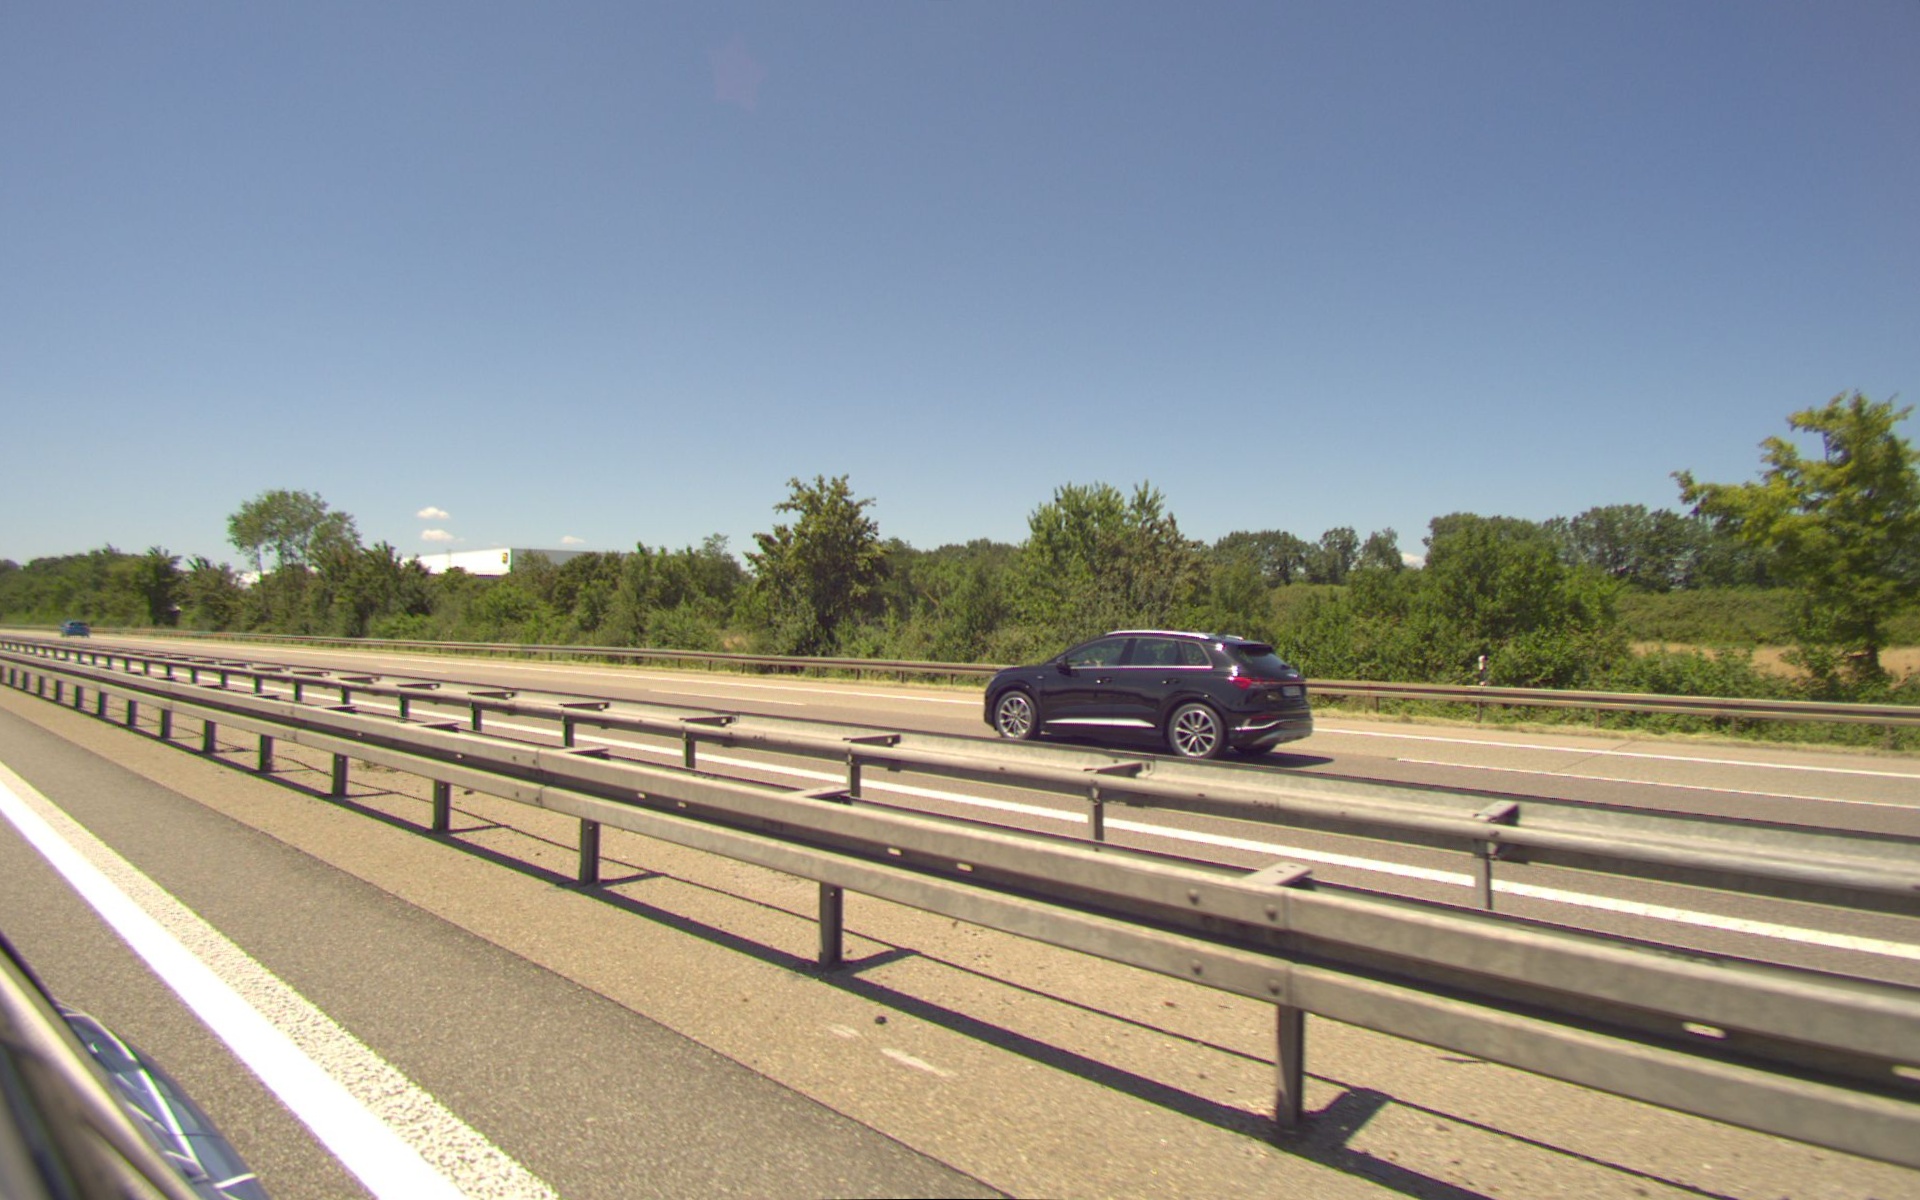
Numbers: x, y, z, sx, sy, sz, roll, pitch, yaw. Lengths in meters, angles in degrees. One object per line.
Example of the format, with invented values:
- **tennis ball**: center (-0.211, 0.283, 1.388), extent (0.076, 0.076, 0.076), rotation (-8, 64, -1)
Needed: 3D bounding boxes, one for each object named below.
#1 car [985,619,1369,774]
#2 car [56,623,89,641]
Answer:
- **car**: center (2.712, 1.133, 13.317), extent (4.623, 1.703, 1.849), rotation (-1, -4, 41)
- **car**: center (-77.724, 2.814, 88.601), extent (3.468, 1.435, 1.548), rotation (0, -3, 39)
